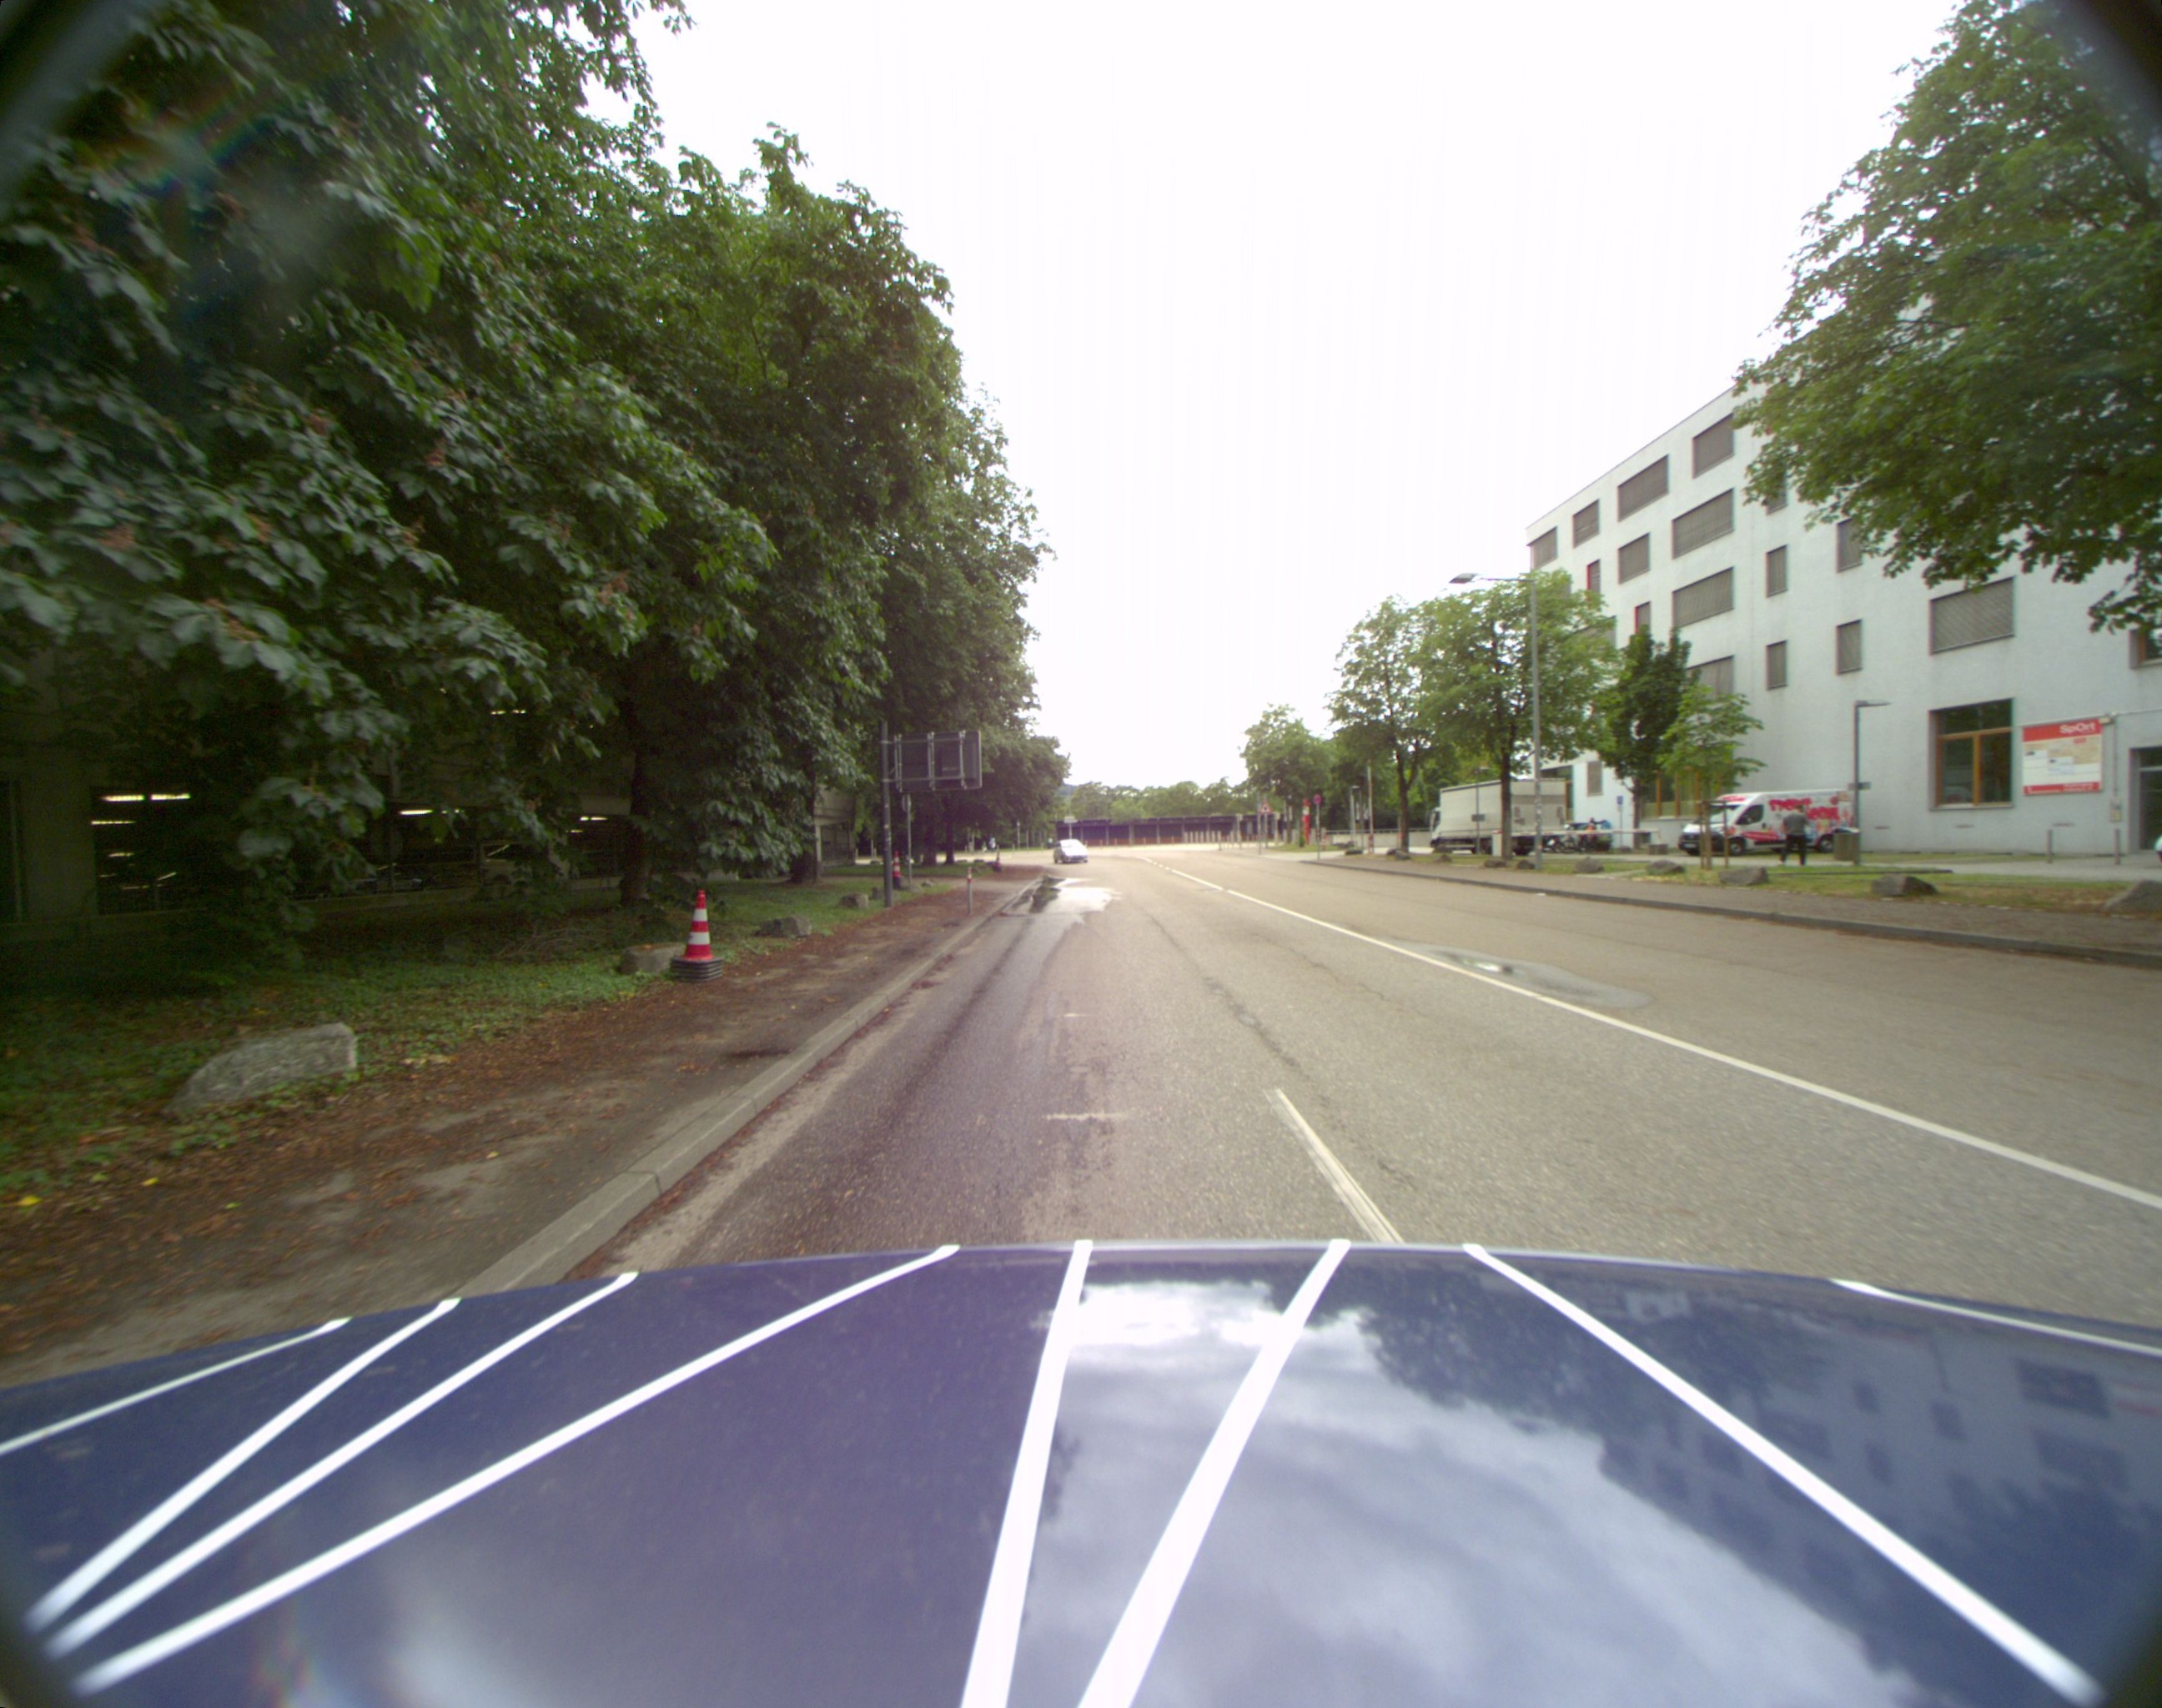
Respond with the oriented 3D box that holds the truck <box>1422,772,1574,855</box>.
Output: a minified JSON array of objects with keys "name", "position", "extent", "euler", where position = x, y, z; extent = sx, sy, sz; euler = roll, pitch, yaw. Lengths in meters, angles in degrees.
[{"name":"truck","position":[20.383,-1.978,37.890],"extent":[2.684,3.581,8.359],"euler":[-3,3,-2]}]

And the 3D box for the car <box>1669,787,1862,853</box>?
[{"name":"car","position":[26.555,-1.324,29.634],"extent":[5.640,2.266,2.078],"euler":[-3,3,0]}]

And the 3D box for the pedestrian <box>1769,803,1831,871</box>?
[{"name":"pedestrian","position":[18.387,-0.432,19.456],"extent":[0.846,1.663,0.786],"euler":[-3,3,-6]}]

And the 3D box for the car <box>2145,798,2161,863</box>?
[{"name":"car","position":[26.752,-0.584,16.951],"extent":[3.621,1.492,1.691],"euler":[-3,3,0]}]

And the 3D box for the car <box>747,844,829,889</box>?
[{"name":"car","position":[-13.592,0.528,35.573],"extent":[1.924,1.824,4.734],"euler":[-3,2,0]}]

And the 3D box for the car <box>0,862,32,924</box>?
[{"name":"car","position":[-28.227,1.098,17.895],"extent":[1.721,1.537,3.700],"euler":[-3,3,0]}]

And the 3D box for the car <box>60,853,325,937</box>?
[{"name":"car","position":[-20.402,0.857,17.732],"extent":[1.721,1.537,3.699],"euler":[-3,3,-1]}]

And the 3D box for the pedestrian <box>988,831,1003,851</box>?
[{"name":"pedestrian","position":[-8.395,-1.279,74.804],"extent":[1.200,1.824,0.927],"euler":[-2,4,4]}]

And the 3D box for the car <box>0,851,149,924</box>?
[{"name":"car","position":[-25.294,0.805,17.999],"extent":[1.721,1.537,3.699],"euler":[-3,3,-1]}]

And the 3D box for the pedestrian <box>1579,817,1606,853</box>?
[{"name":"pedestrian","position":[23.476,-0.876,34.855],"extent":[0.886,1.597,0.680],"euler":[-2,3,21]}]

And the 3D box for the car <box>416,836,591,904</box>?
[{"name":"car","position":[-17.288,0.384,23.108],"extent":[1.589,1.699,4.665],"euler":[-3,3,1]}]

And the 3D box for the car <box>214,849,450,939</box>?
[{"name":"car","position":[-17.437,0.839,17.991],"extent":[1.589,1.699,3.855],"euler":[-3,3,1]}]

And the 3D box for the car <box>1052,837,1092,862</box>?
[{"name":"car","position":[-0.619,-0.348,49.277],"extent":[1.608,1.448,3.496],"euler":[-4,3,-17]}]
